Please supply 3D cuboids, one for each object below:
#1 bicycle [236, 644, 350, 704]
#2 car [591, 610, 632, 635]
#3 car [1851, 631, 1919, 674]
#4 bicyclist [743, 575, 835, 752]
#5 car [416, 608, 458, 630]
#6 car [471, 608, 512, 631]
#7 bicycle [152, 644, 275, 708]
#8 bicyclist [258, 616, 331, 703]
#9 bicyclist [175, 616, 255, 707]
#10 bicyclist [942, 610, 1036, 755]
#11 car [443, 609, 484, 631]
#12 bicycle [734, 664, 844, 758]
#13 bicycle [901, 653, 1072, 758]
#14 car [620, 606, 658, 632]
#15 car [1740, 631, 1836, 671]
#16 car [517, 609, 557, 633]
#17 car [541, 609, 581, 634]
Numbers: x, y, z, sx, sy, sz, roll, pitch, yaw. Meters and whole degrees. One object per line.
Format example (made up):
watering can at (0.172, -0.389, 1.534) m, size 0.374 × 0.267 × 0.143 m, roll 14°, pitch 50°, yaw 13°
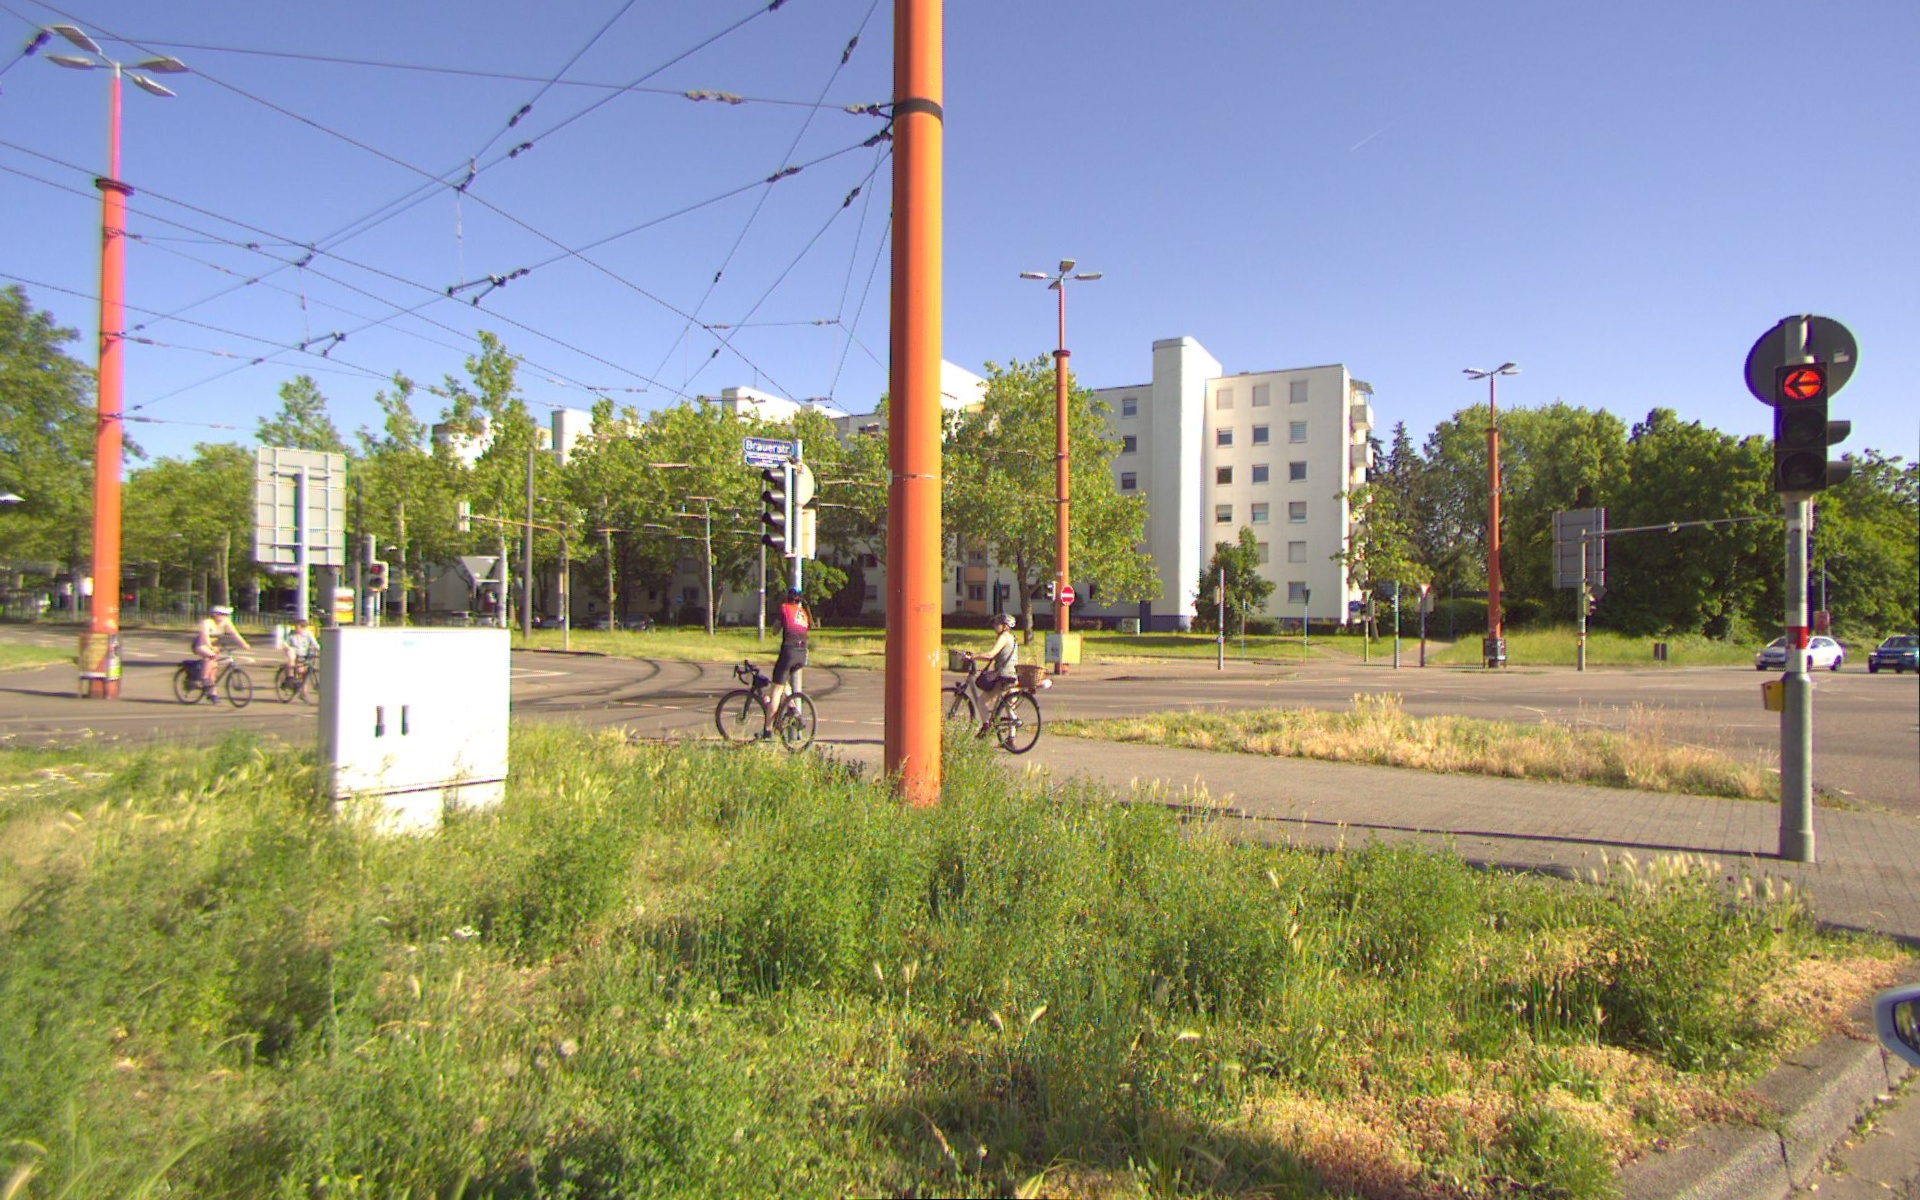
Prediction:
bicycle at (-13.255, 1.441, 19.978) m, size 1.849 × 1.102 × 0.928 m, roll 0°, pitch -1°, yaw 18°
car at (-26.118, 1.681, 75.326) m, size 1.962 × 1.840 × 3.997 m, roll 1°, pitch -1°, yaw -5°
car at (37.262, 2.037, 39.867) m, size 4.079 × 1.594 × 1.981 m, roll 2°, pitch -1°, yaw -35°
bicyclist at (-2.069, 0.747, 12.138) m, size 0.921 × 2.040 × 0.736 m, roll 1°, pitch -1°, yaw -25°
car at (-46.032, 1.669, 88.472) m, size 1.963 × 1.840 × 3.995 m, roll 1°, pitch -1°, yaw -8°
car at (-39.293, 1.635, 84.322) m, size 1.963 × 1.840 × 3.995 m, roll 1°, pitch -1°, yaw -8°
bicycle at (-14.033, 1.411, 18.894) m, size 1.849 × 1.102 × 0.928 m, roll 0°, pitch -1°, yaw 18°
bicyclist at (-13.216, 1.161, 19.966) m, size 0.726 × 1.659 × 0.934 m, roll 0°, pitch -1°, yaw 18°
bicyclist at (-14.006, 1.132, 18.895) m, size 0.726 × 1.659 × 0.934 m, roll 0°, pitch -1°, yaw 18°
bicyclist at (0.355, 0.956, 12.097) m, size 0.728 × 1.659 × 0.931 m, roll 0°, pitch -1°, yaw 35°
car at (-42.683, 1.693, 86.444) m, size 1.963 × 1.840 × 3.995 m, roll 1°, pitch -1°, yaw -8°
bicycle at (-2.119, 1.307, 12.235) m, size 0.915 × 0.976 × 1.747 m, roll 1°, pitch -1°, yaw -24°
bicycle at (0.311, 1.226, 12.120) m, size 1.855 × 1.102 × 0.925 m, roll 0°, pitch -1°, yaw 34°
car at (-23.411, 1.394, 73.415) m, size 1.963 × 1.840 × 3.995 m, roll 1°, pitch -1°, yaw -8°
car at (35.138, 2.149, 42.608) m, size 4.075 × 1.594 × 1.983 m, roll 1°, pitch -1°, yaw -32°
car at (-33.801, 1.663, 80.404) m, size 1.963 × 1.840 × 3.995 m, roll 1°, pitch -1°, yaw -8°
car at (-31.201, 1.670, 78.675) m, size 1.963 × 1.840 × 3.995 m, roll 1°, pitch -1°, yaw -8°
